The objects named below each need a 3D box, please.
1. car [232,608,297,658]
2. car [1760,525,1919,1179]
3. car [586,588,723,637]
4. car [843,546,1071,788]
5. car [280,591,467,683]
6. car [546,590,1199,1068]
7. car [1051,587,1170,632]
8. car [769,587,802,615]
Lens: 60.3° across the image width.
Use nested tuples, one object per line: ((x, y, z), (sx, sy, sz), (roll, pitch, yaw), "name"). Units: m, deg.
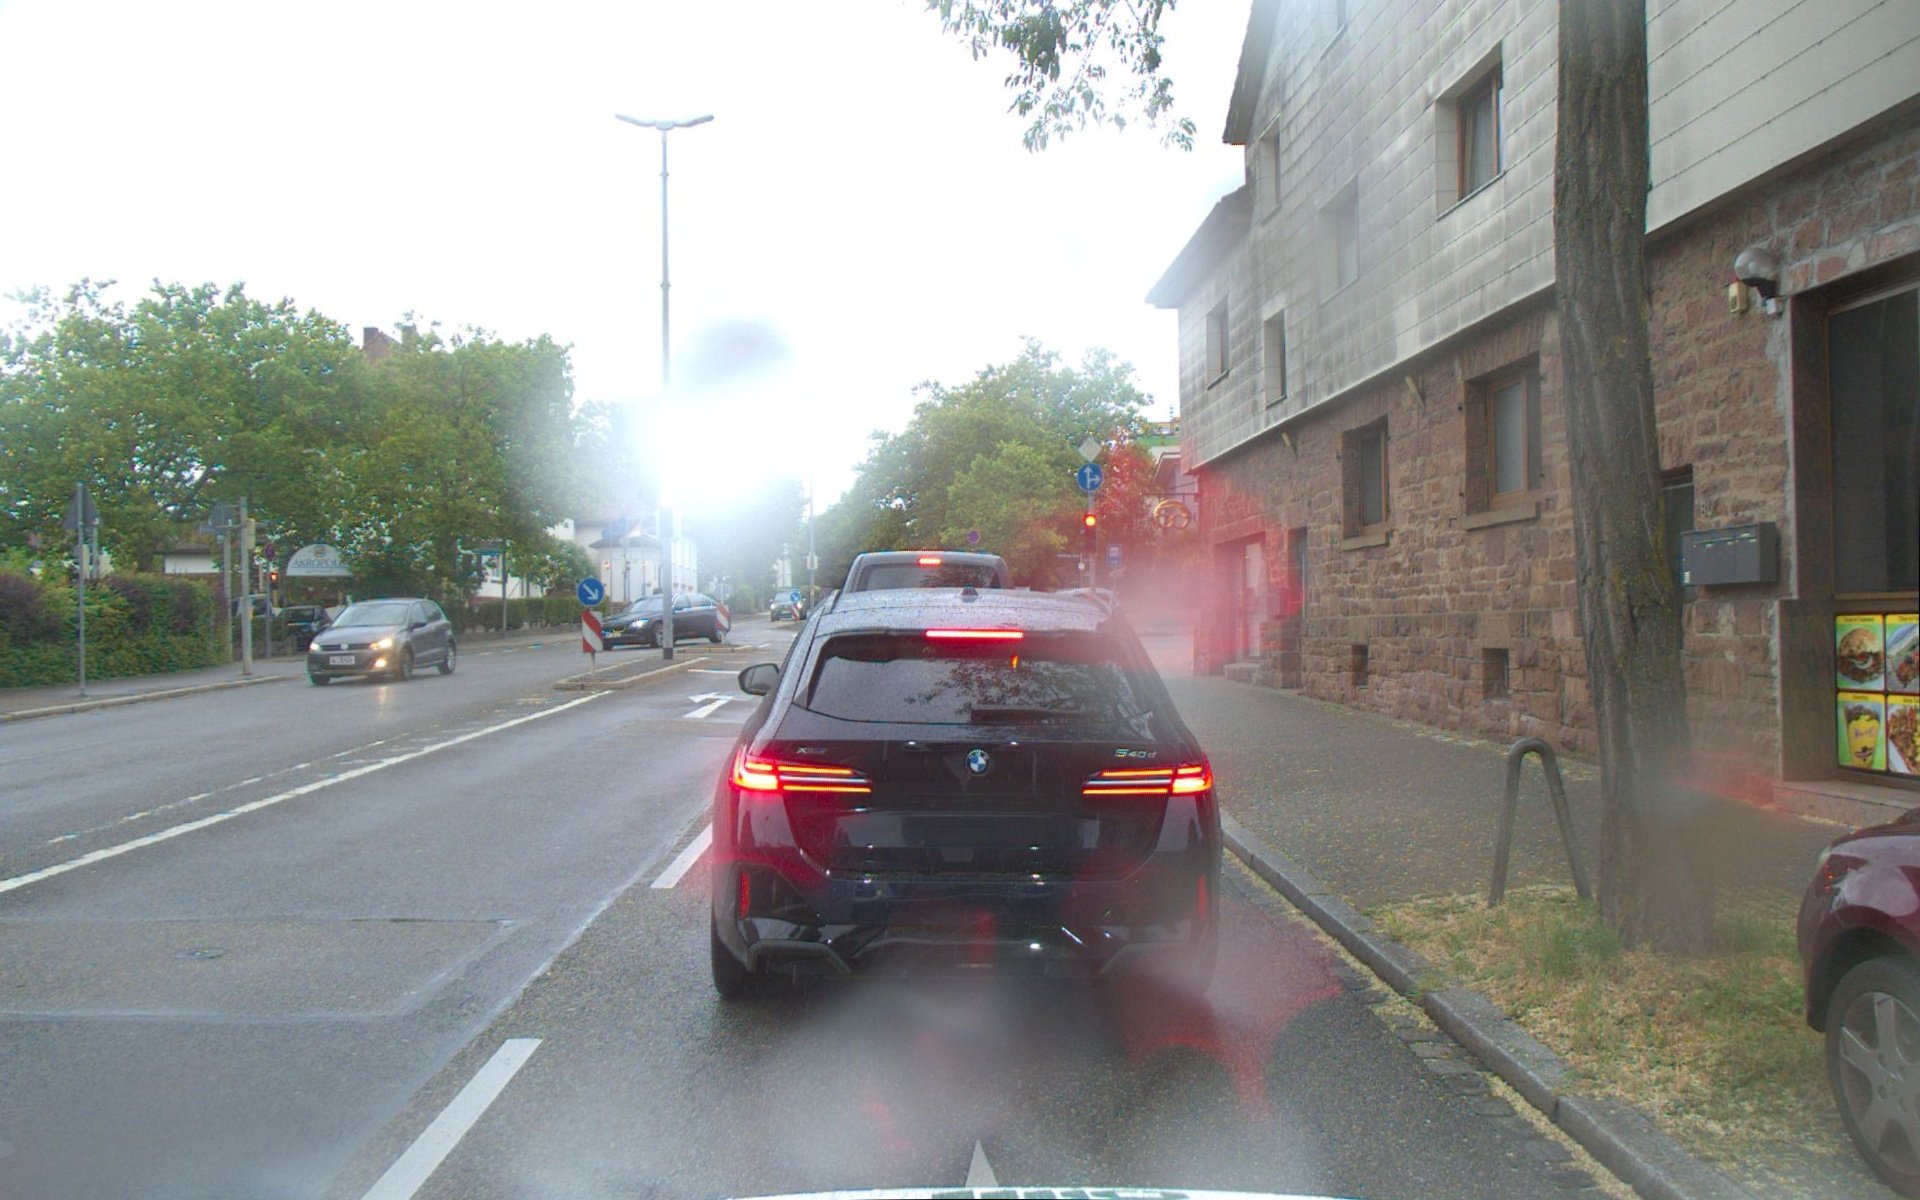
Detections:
((-23.805, 1.099, 56.714), (1.966, 1.579, 3.973), (0, 0, -22), "car")
((3.045, 0.561, 2.630), (1.553, 1.516, 3.625), (-3, 1, -4), "car")
((-8.455, 0.316, 46.070), (1.806, 1.311, 3.998), (0, 0, 24), "car")
((-0.119, 0.490, 14.662), (1.748, 1.849, 3.998), (0, 0, -3), "car")
((-10.484, 0.622, 29.892), (1.952, 1.536, 3.955), (0, 0, 0), "car")
((-0.385, 0.714, 7.409), (2.023, 1.472, 4.480), (1, 0, -3), "car")
((5.457, 0.312, 59.883), (3.936, 1.579, 1.810), (0, 0, -25), "car")
((-9.230, 0.037, 87.735), (1.435, 1.422, 3.321), (0, 0, -1), "car")
